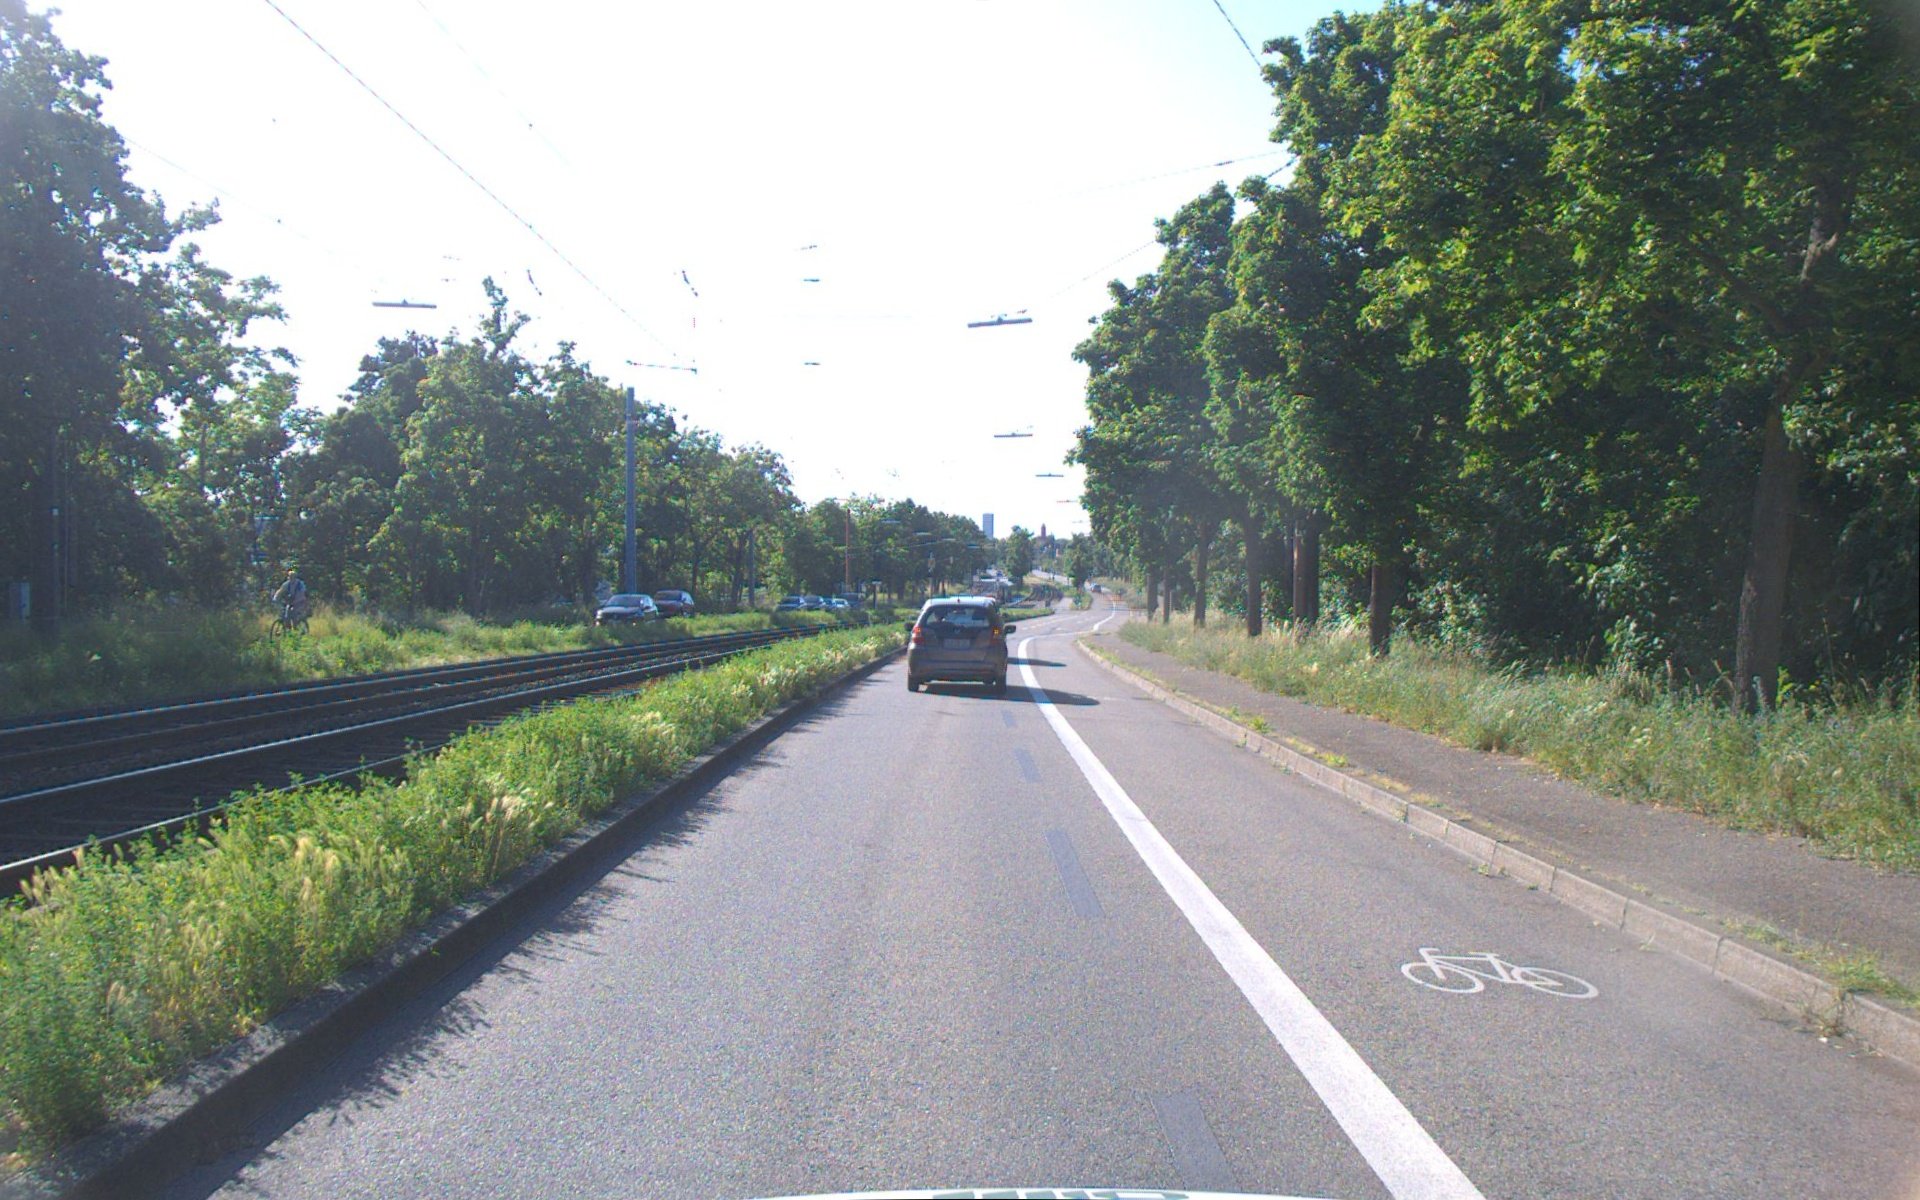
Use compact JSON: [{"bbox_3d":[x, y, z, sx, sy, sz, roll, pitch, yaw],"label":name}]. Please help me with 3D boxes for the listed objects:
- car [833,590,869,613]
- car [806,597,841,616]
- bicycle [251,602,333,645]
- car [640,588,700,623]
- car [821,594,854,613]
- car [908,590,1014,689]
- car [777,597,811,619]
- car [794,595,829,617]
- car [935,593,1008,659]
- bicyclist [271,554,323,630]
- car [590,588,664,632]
[{"bbox_3d":[-9.528,0.142,145.434,2.150,1.924,4.795,1,0,8],"label":"car"},{"bbox_3d":[-10.985,0.502,133.092,1.951,1.462,4.418,1,0,6],"label":"car"},{"bbox_3d":[-15.624,0.533,38.759,0.801,0.930,2.538,1,0,1],"label":"bicycle"},{"bbox_3d":[-15.136,0.264,86.640,1.962,1.732,4.469,1,0,5],"label":"car"},{"bbox_3d":[-10.305,0.291,139.105,1.887,1.462,4.698,1,0,6],"label":"car"},{"bbox_3d":[-0.020,0.621,28.573,1.672,1.535,3.999,2,0,-1],"label":"car"},{"bbox_3d":[-12.097,0.572,120.565,1.699,1.520,4.330,3,0,4],"label":"car"},{"bbox_3d":[-11.400,0.458,127.193,1.951,1.602,4.438,1,0,5],"label":"car"},{"bbox_3d":[0.348,0.643,43.821,1.812,1.634,4.255,1,0,1],"label":"car"},{"bbox_3d":[-15.604,-0.188,38.919,0.802,1.767,0.902,1,0,1],"label":"bicyclist"},{"bbox_3d":[-12.047,0.352,60.024,1.675,1.505,4.001,1,0,2],"label":"car"}]
